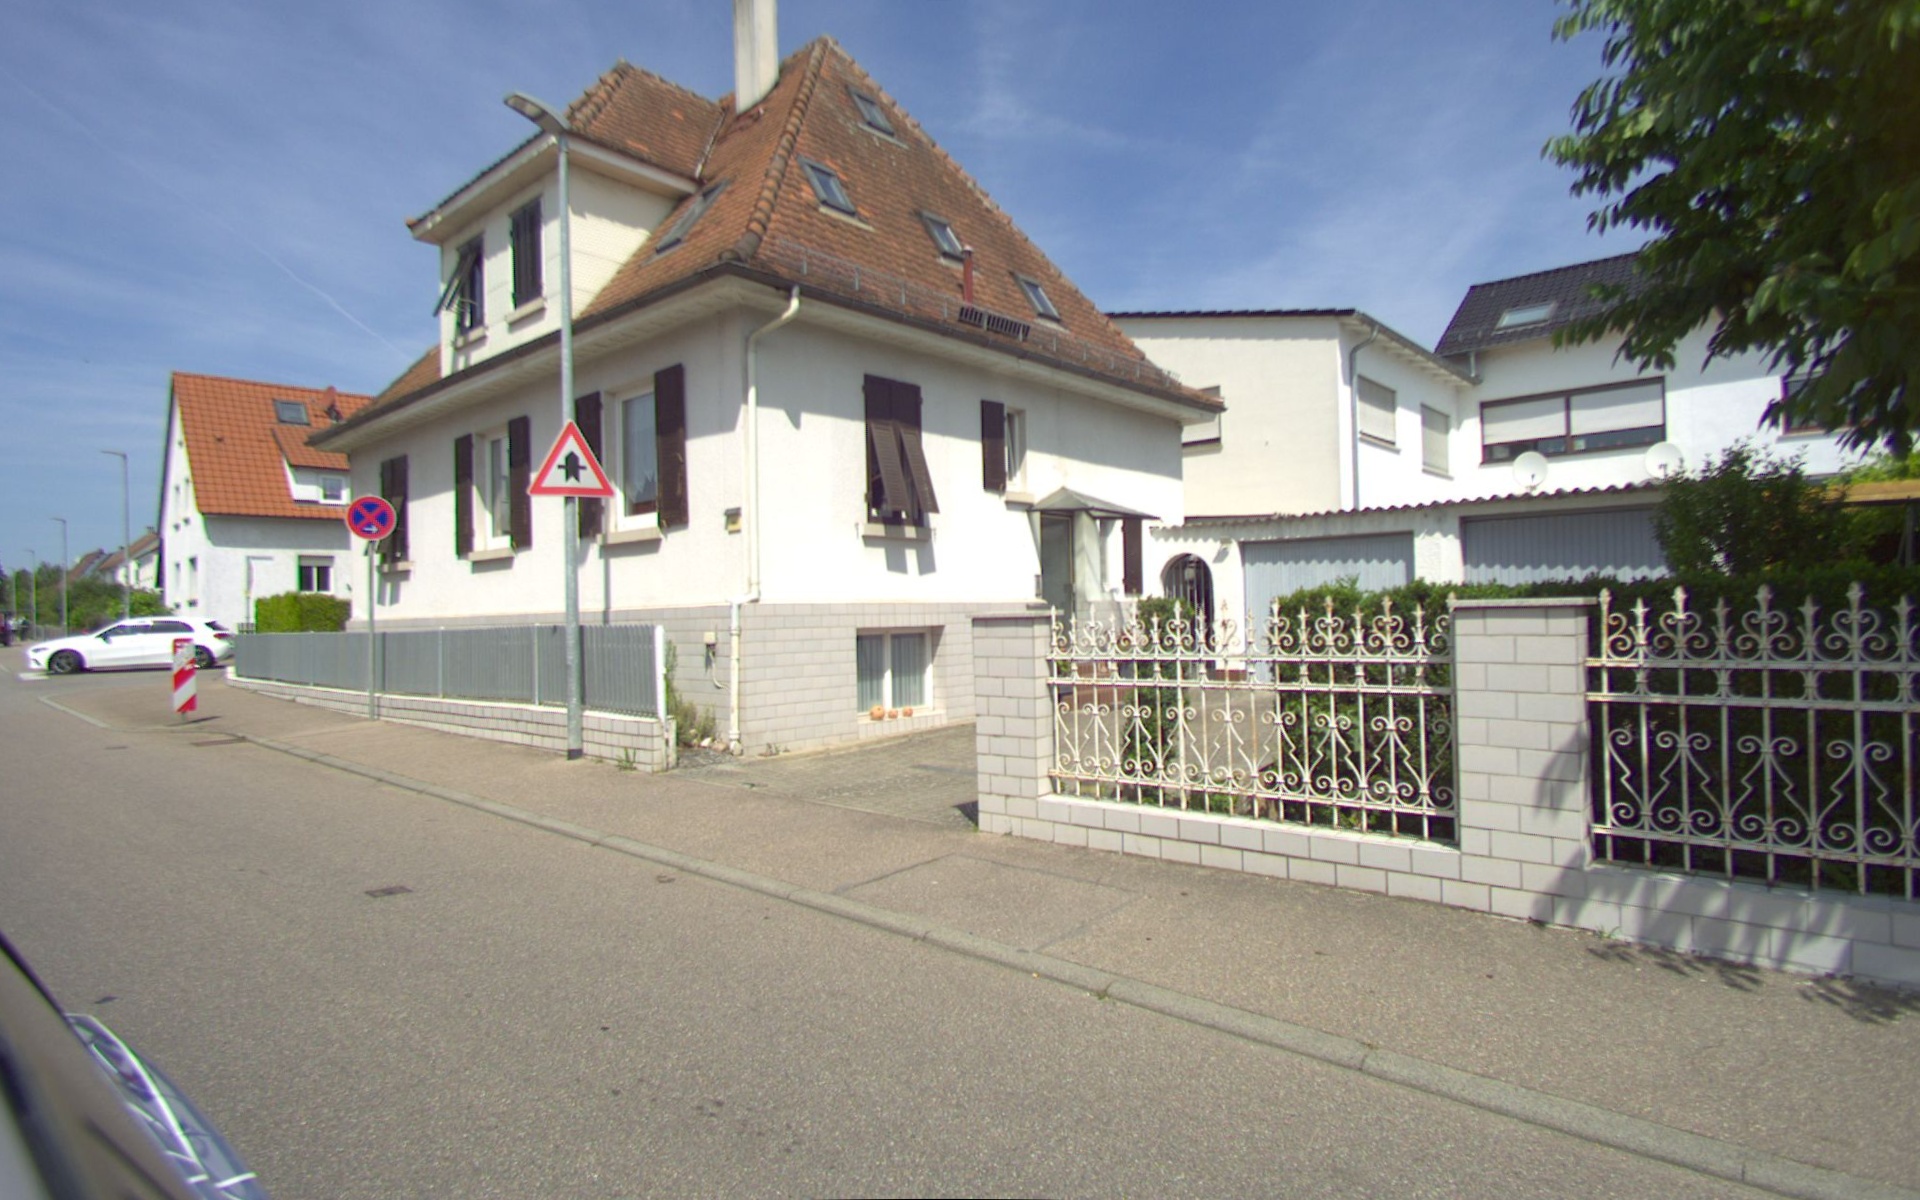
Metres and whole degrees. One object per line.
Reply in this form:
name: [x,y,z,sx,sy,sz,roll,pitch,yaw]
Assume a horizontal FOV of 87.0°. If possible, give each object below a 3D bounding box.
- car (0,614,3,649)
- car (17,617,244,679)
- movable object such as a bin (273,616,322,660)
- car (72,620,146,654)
car: [-55.836,1.824,57.536,1.945,1.966,4.699,-1,0,-45]
car: [-21.998,1.232,27.111,4.418,1.408,1.935,-1,0,-30]
movable object such as a bin: [-21.352,1.198,32.603,1.246,1.323,1.169,-2,1,-36]
car: [-39.870,1.698,47.528,1.801,1.442,4.577,-1,0,-29]
